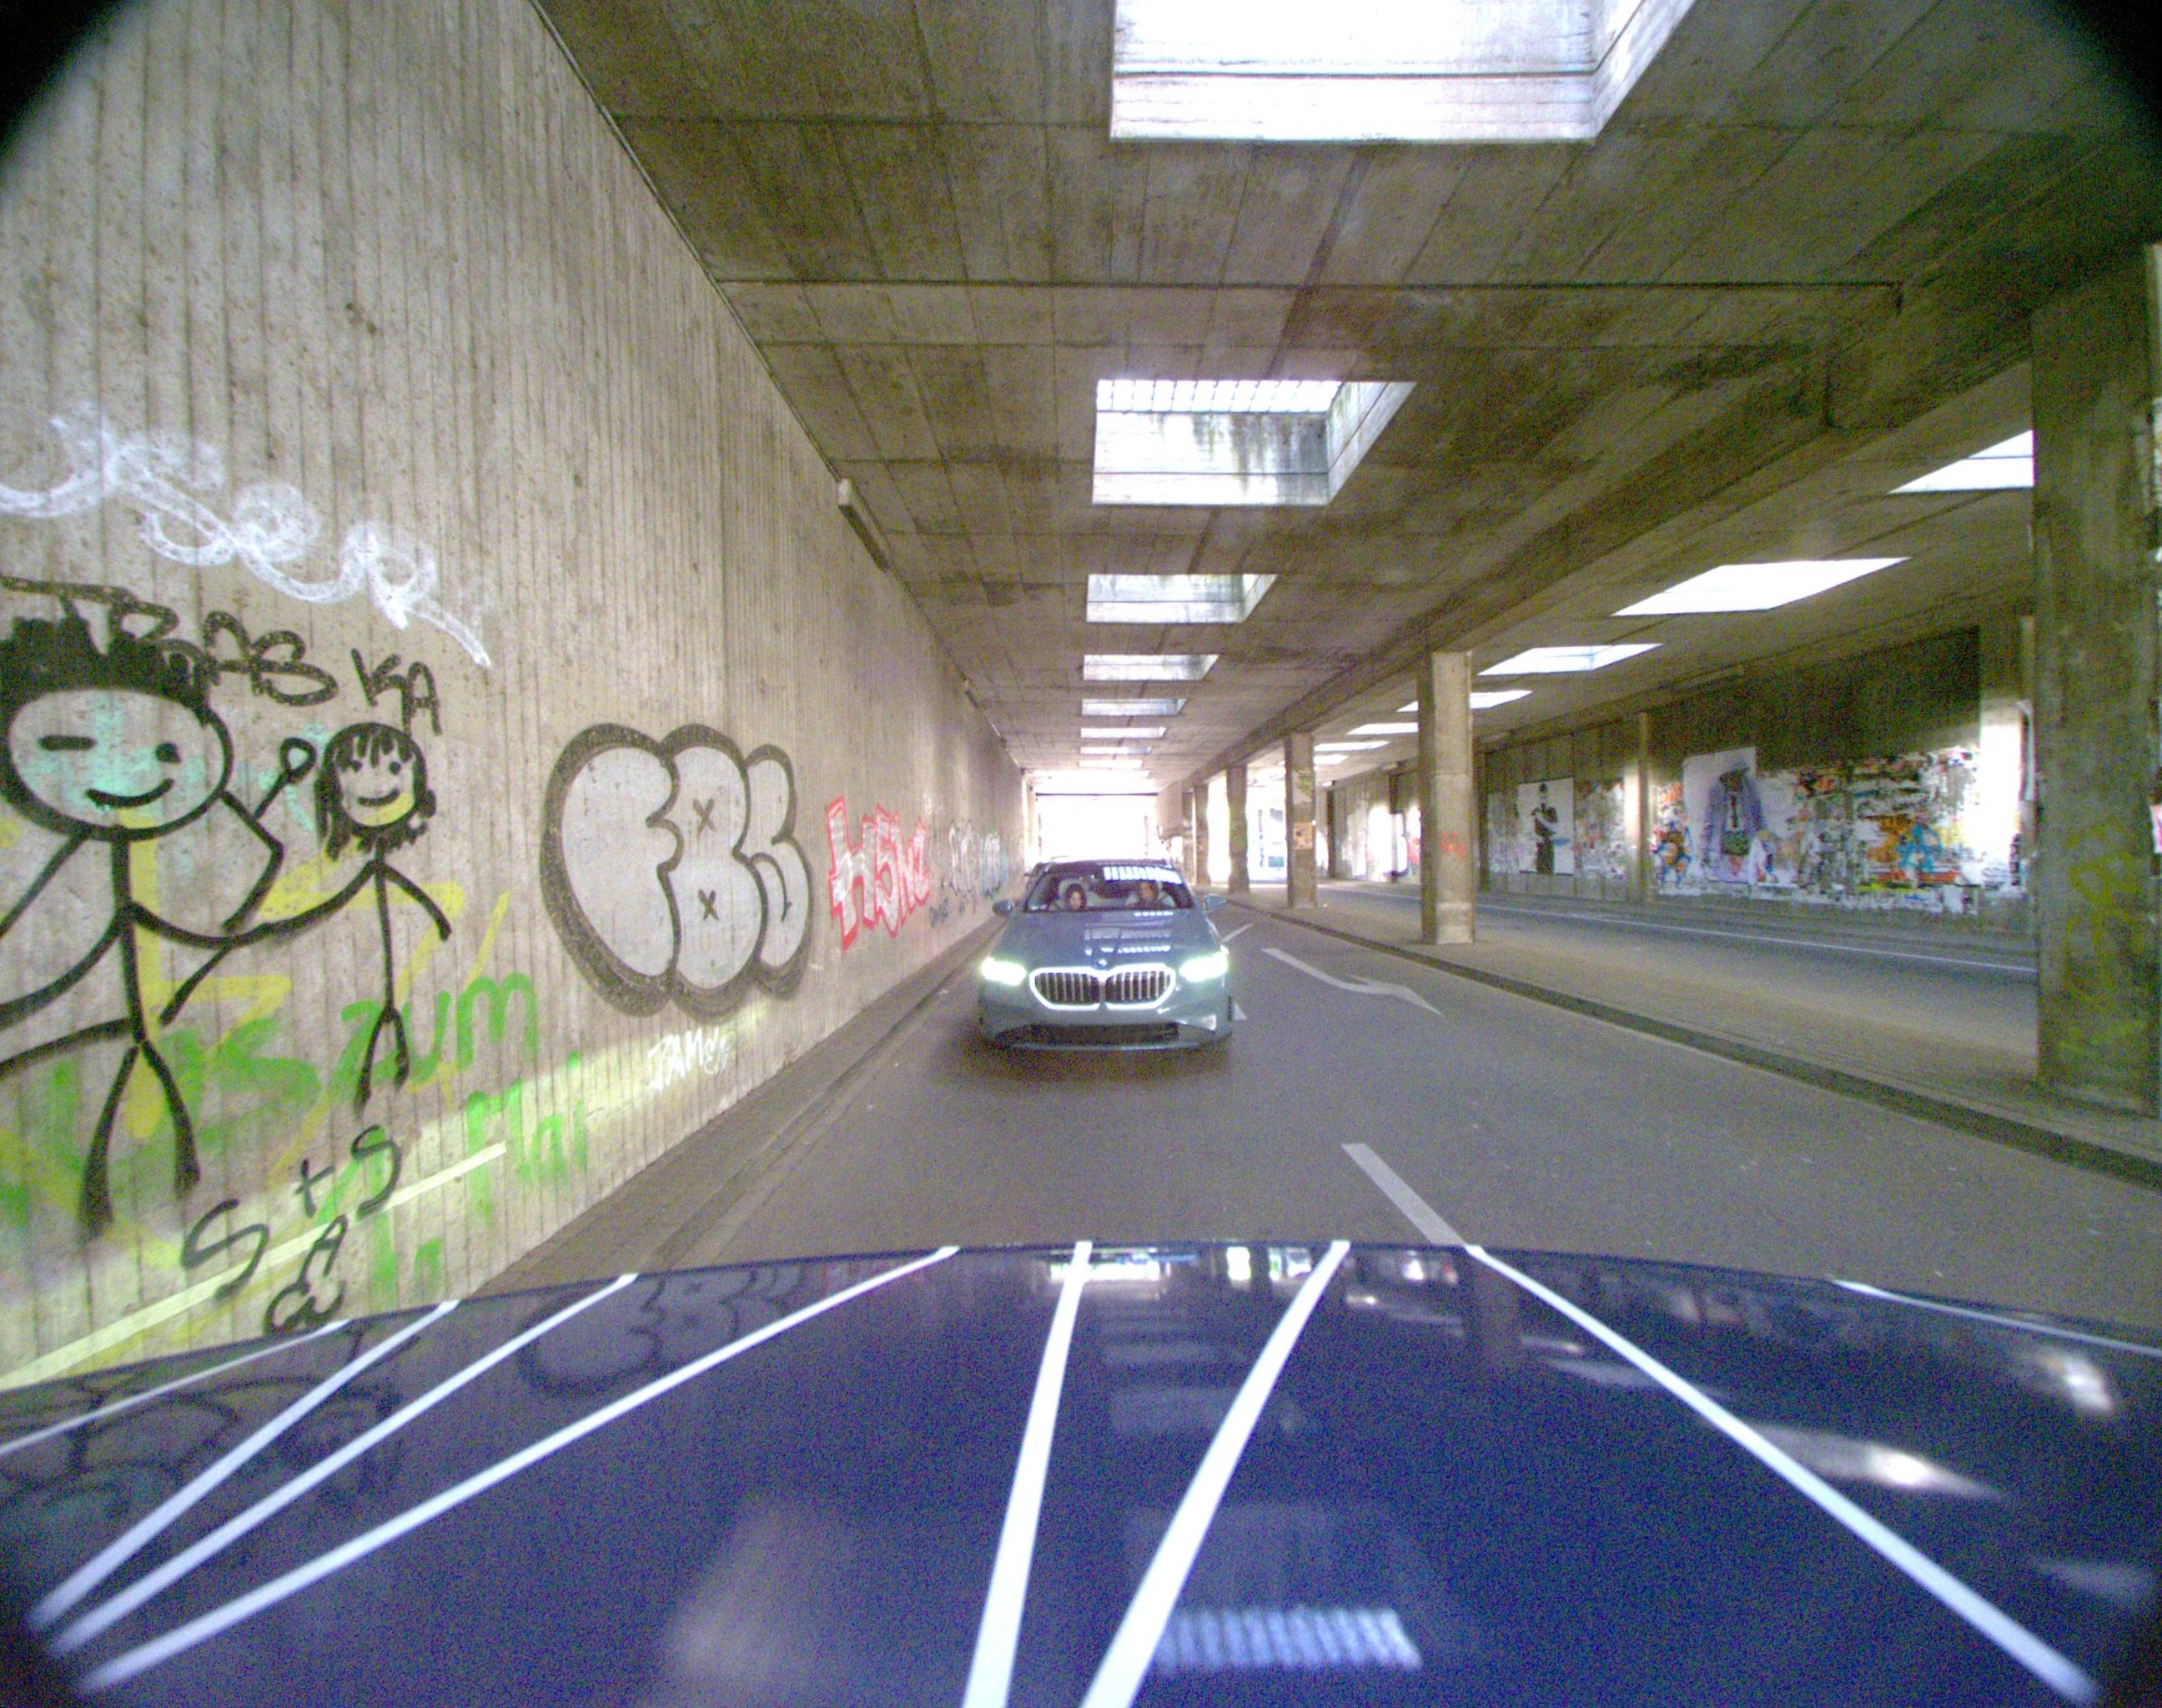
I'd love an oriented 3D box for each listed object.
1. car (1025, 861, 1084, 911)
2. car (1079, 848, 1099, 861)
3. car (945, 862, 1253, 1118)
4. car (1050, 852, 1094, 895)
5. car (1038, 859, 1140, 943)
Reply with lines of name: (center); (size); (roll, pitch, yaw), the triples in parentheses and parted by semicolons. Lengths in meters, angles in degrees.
car: (-0.760, 0.930, 23.861); (1.616, 1.367, 4.199); (-1, 0, 1)
car: (0.974, 0.083, 92.242); (1.934, 1.543, 3.997); (-1, 0, -6)
car: (0.151, 0.912, 7.433); (1.957, 1.546, 5.040); (-1, 0, 1)
car: (-0.305, 0.701, 30.037); (1.616, 1.546, 4.013); (-1, 0, 1)
car: (0.190, 0.931, 16.913); (1.957, 1.546, 4.247); (-1, 0, 1)
